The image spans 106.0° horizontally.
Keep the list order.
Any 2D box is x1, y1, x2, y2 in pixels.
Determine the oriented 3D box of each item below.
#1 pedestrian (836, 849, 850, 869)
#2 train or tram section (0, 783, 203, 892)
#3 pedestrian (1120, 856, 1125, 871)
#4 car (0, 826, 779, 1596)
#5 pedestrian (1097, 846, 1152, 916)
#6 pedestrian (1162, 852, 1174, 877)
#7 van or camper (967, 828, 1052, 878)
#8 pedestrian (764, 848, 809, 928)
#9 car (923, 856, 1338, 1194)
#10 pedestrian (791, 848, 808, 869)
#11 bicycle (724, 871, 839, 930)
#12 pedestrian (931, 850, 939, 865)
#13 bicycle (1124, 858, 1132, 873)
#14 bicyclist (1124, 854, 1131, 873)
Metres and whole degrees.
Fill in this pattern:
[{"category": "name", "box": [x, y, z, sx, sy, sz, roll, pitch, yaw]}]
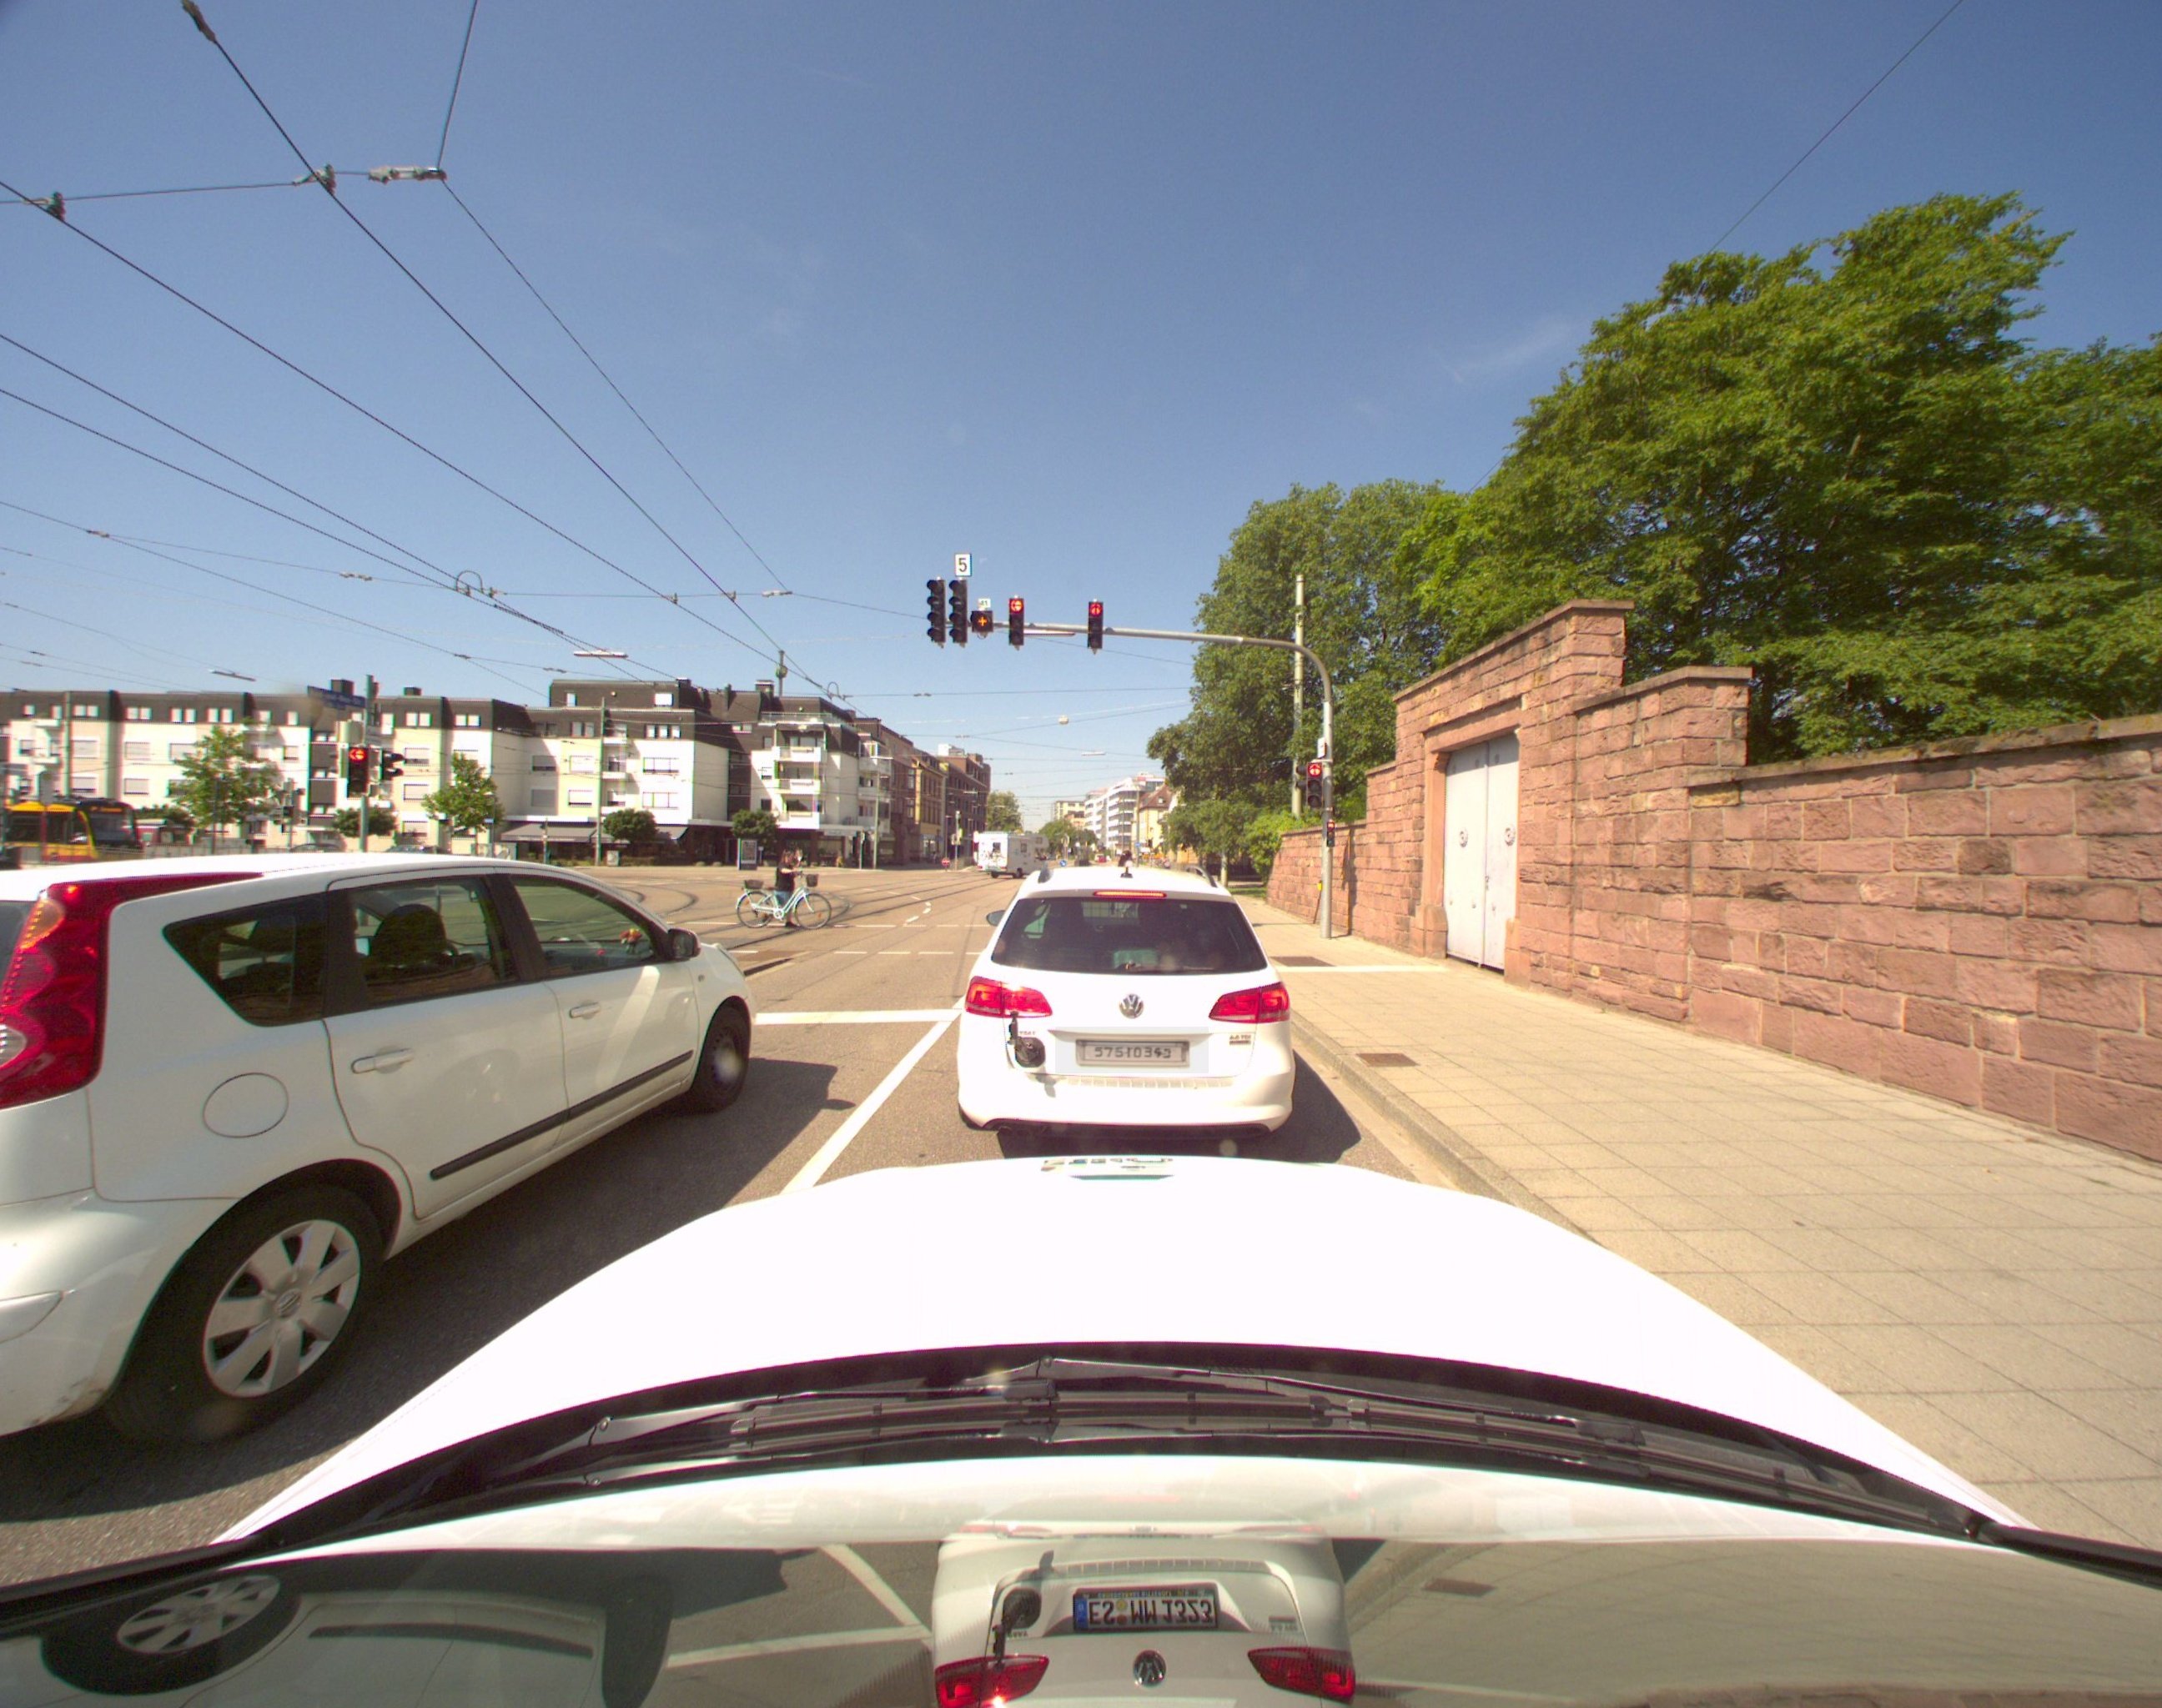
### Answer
[{"category": "pedestrian", "box": [-20.736, 0.419, 71.000, 0.978, 1.743, 0.856, 0, -2, -30]}, {"category": "train or tram section", "box": [-55.491, -0.666, 41.521, 16.149, 5.150, 4.735, -1, -1, 0]}, {"category": "pedestrian", "box": [6.290, 1.497, 124.241, 0.687, 2.325, 1.233, -1, -1, 3]}, {"category": "car", "box": [-2.908, 0.712, 3.562, 1.636, 1.566, 3.805, -1, 1, 1]}, {"category": "pedestrian", "box": [1.072, 0.647, 19.989, 0.943, 1.651, 0.981, -2, -2, 39]}, {"category": "pedestrian", "box": [6.383, 0.776, 59.831, 0.857, 1.743, 0.977, -1, -1, 8]}, {"category": "van or camper", "box": [-4.568, -0.019, 53.054, 2.542, 3.093, 5.738, -2, -1, 31]}, {"category": "pedestrian", "box": [-5.976, 0.664, 16.542, 0.746, 1.571, 0.672, -1, 0, -12]}, {"category": "car", "box": [0.273, 0.749, 5.562, 1.801, 1.448, 4.001, 1, 0, 1]}, {"category": "pedestrian", "box": [-23.167, 0.358, 67.109, 0.853, 1.743, 0.981, -2, -2, 35]}, {"category": "bicycle", "box": [-5.824, 0.900, 15.950, 2.021, 1.090, 0.707, 1, 0, -13]}, {"category": "pedestrian", "box": [-17.775, 0.434, 99.255, 0.860, 1.743, 0.973, -1, -1, -4]}, {"category": "bicycle", "box": [4.096, 0.991, 71.317, 0.556, 1.297, 2.248, -1, -1, -1]}, {"category": "bicyclist", "box": [4.090, 0.813, 71.290, 0.559, 1.613, 0.637, -1, -1, -3]}]
